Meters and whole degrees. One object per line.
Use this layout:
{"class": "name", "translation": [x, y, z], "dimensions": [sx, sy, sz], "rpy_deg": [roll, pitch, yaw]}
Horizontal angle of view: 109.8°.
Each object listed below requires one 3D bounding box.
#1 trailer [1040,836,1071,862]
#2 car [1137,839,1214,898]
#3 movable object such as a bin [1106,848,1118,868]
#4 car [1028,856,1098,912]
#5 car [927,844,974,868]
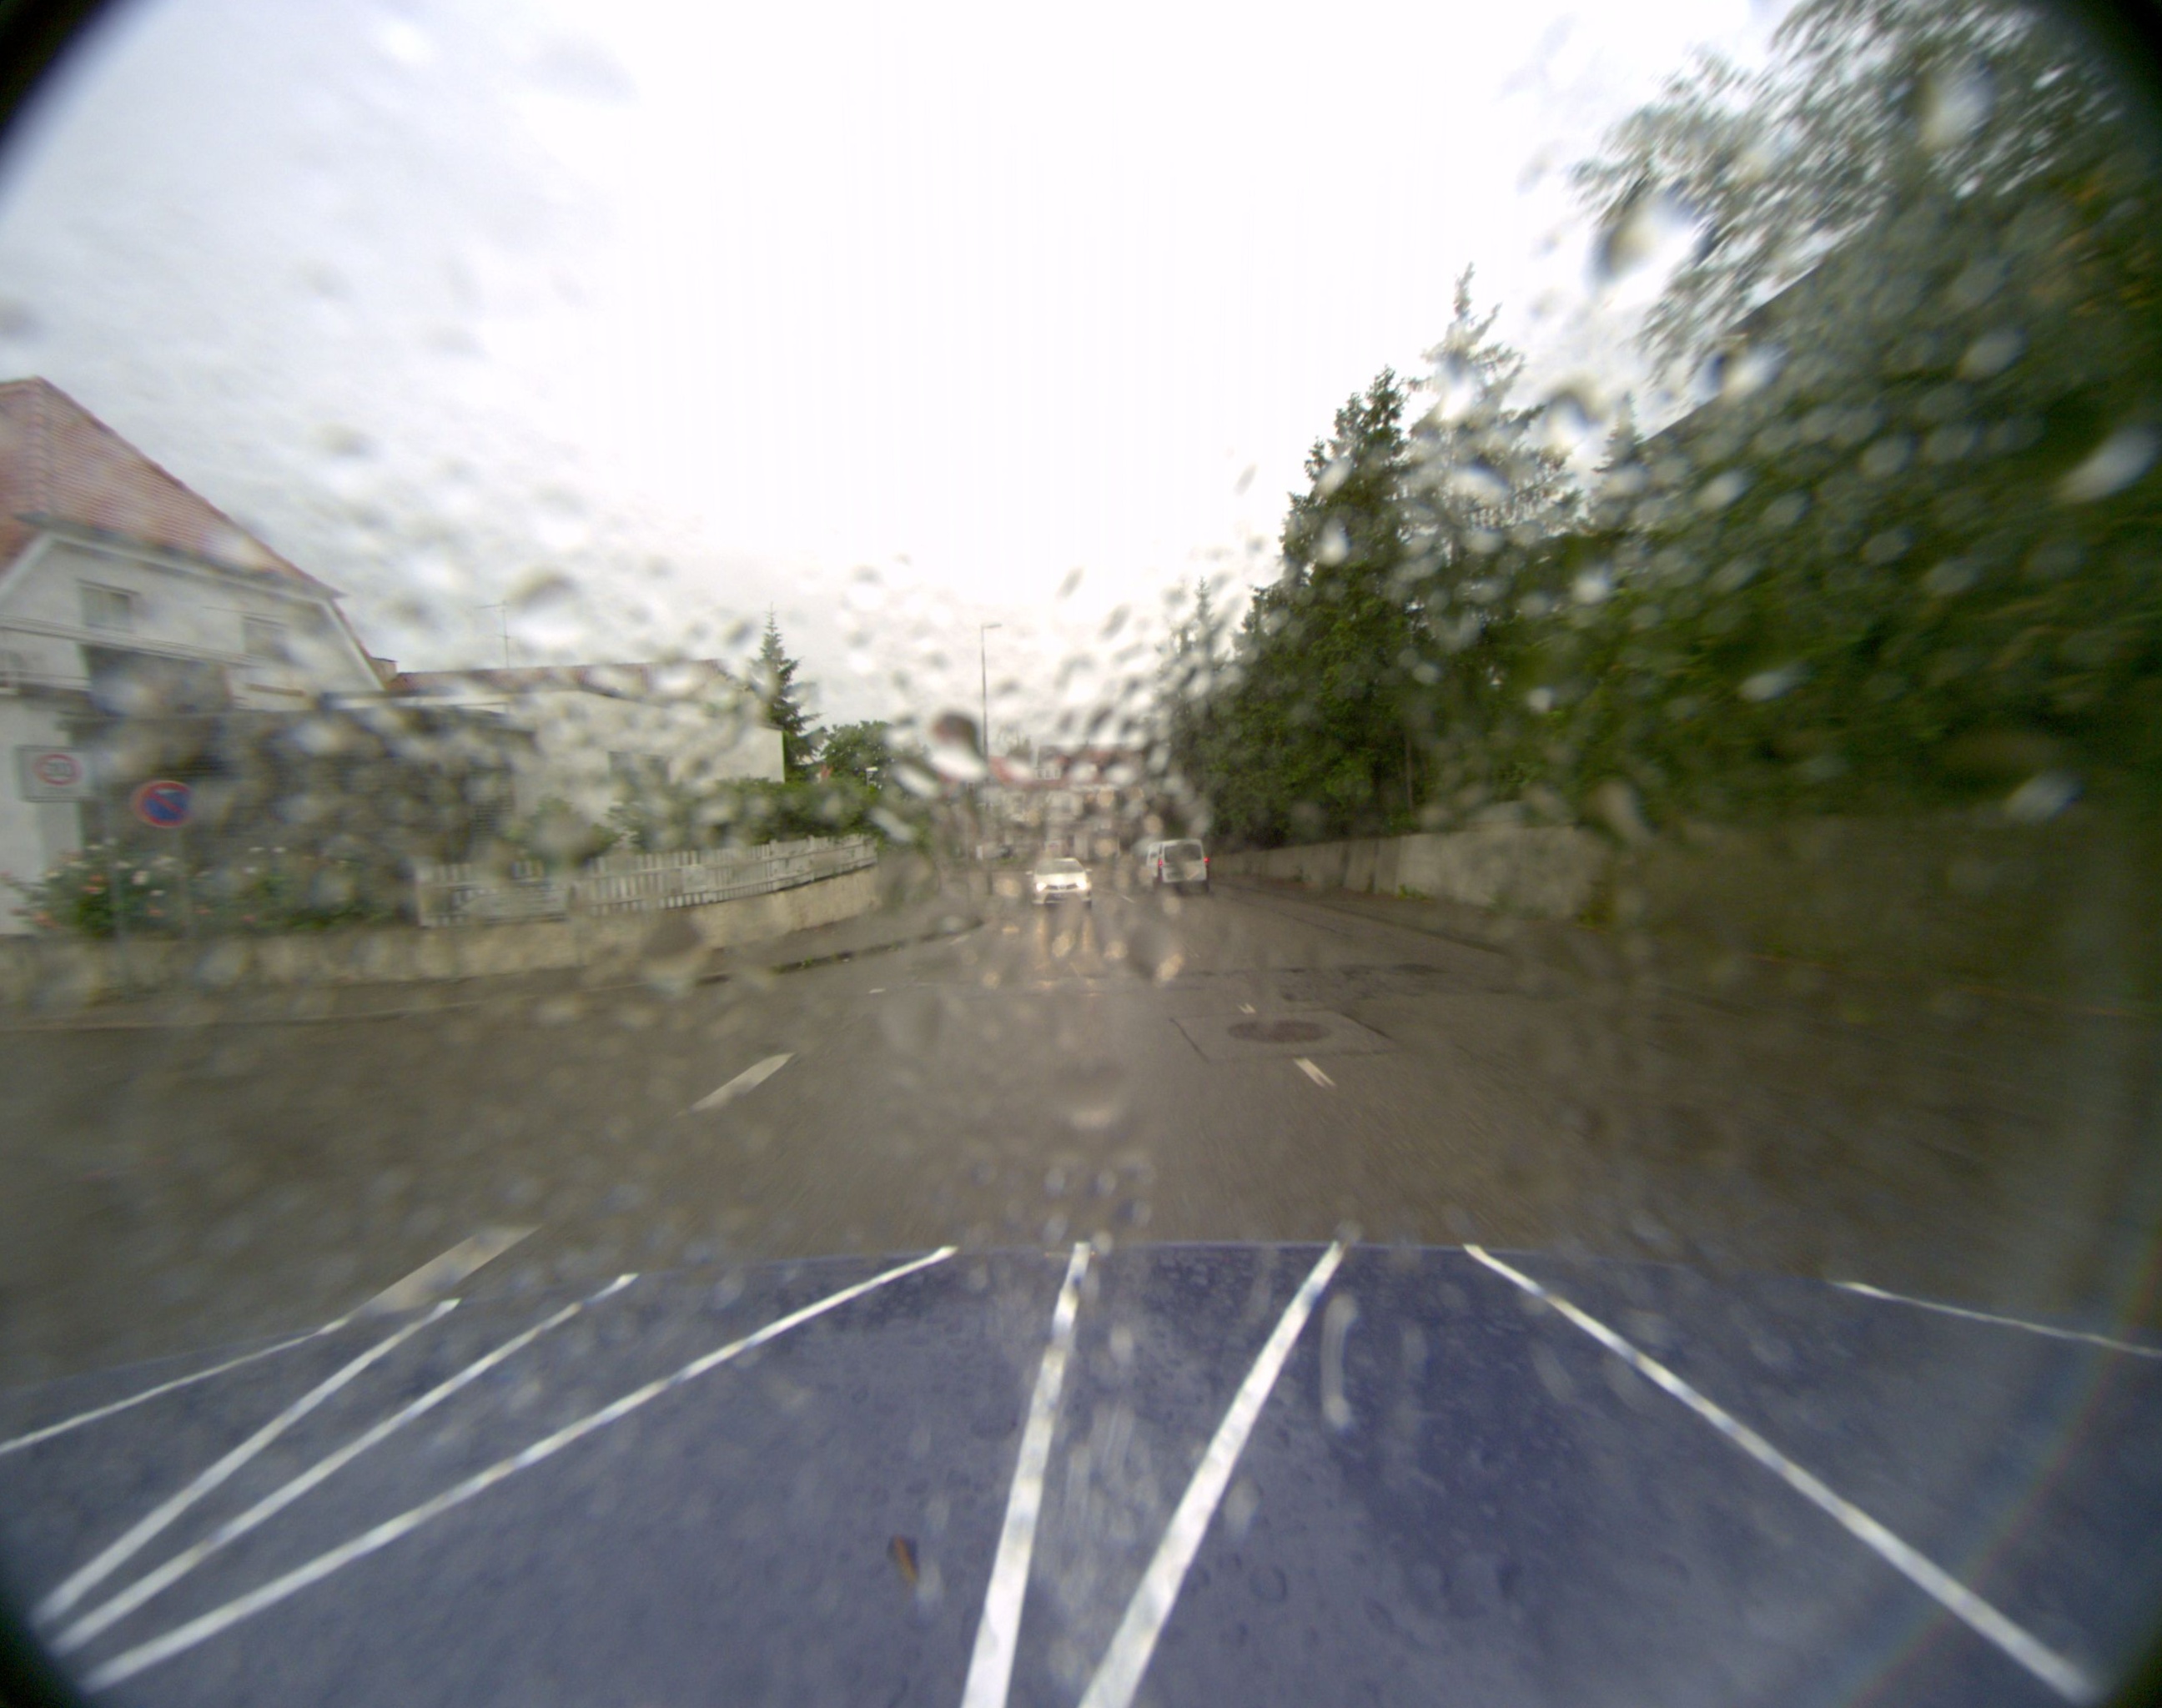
{"class": "trailer", "translation": [-2.224, -0.454, 67.495], "dimensions": [1.951, 2.091, 3.961], "rpy_deg": [-3, 2, 8]}
{"class": "car", "translation": [3.136, 0.446, 26.130], "dimensions": [1.845, 1.745, 4.419], "rpy_deg": [-4, 1, -2]}
{"class": "movable object such as a bin", "translation": [1.896, 0.268, 46.639], "dimensions": [0.625, 1.133, 0.668], "rpy_deg": [-5, 4, 1]}
{"class": "car", "translation": [-0.626, 0.835, 23.113], "dimensions": [1.859, 1.427, 4.016], "rpy_deg": [-4, 0, -3]}
{"class": "car", "translation": [-12.411, 0.185, 72.378], "dimensions": [1.995, 1.790, 4.124], "rpy_deg": [-3, 4, 32]}
